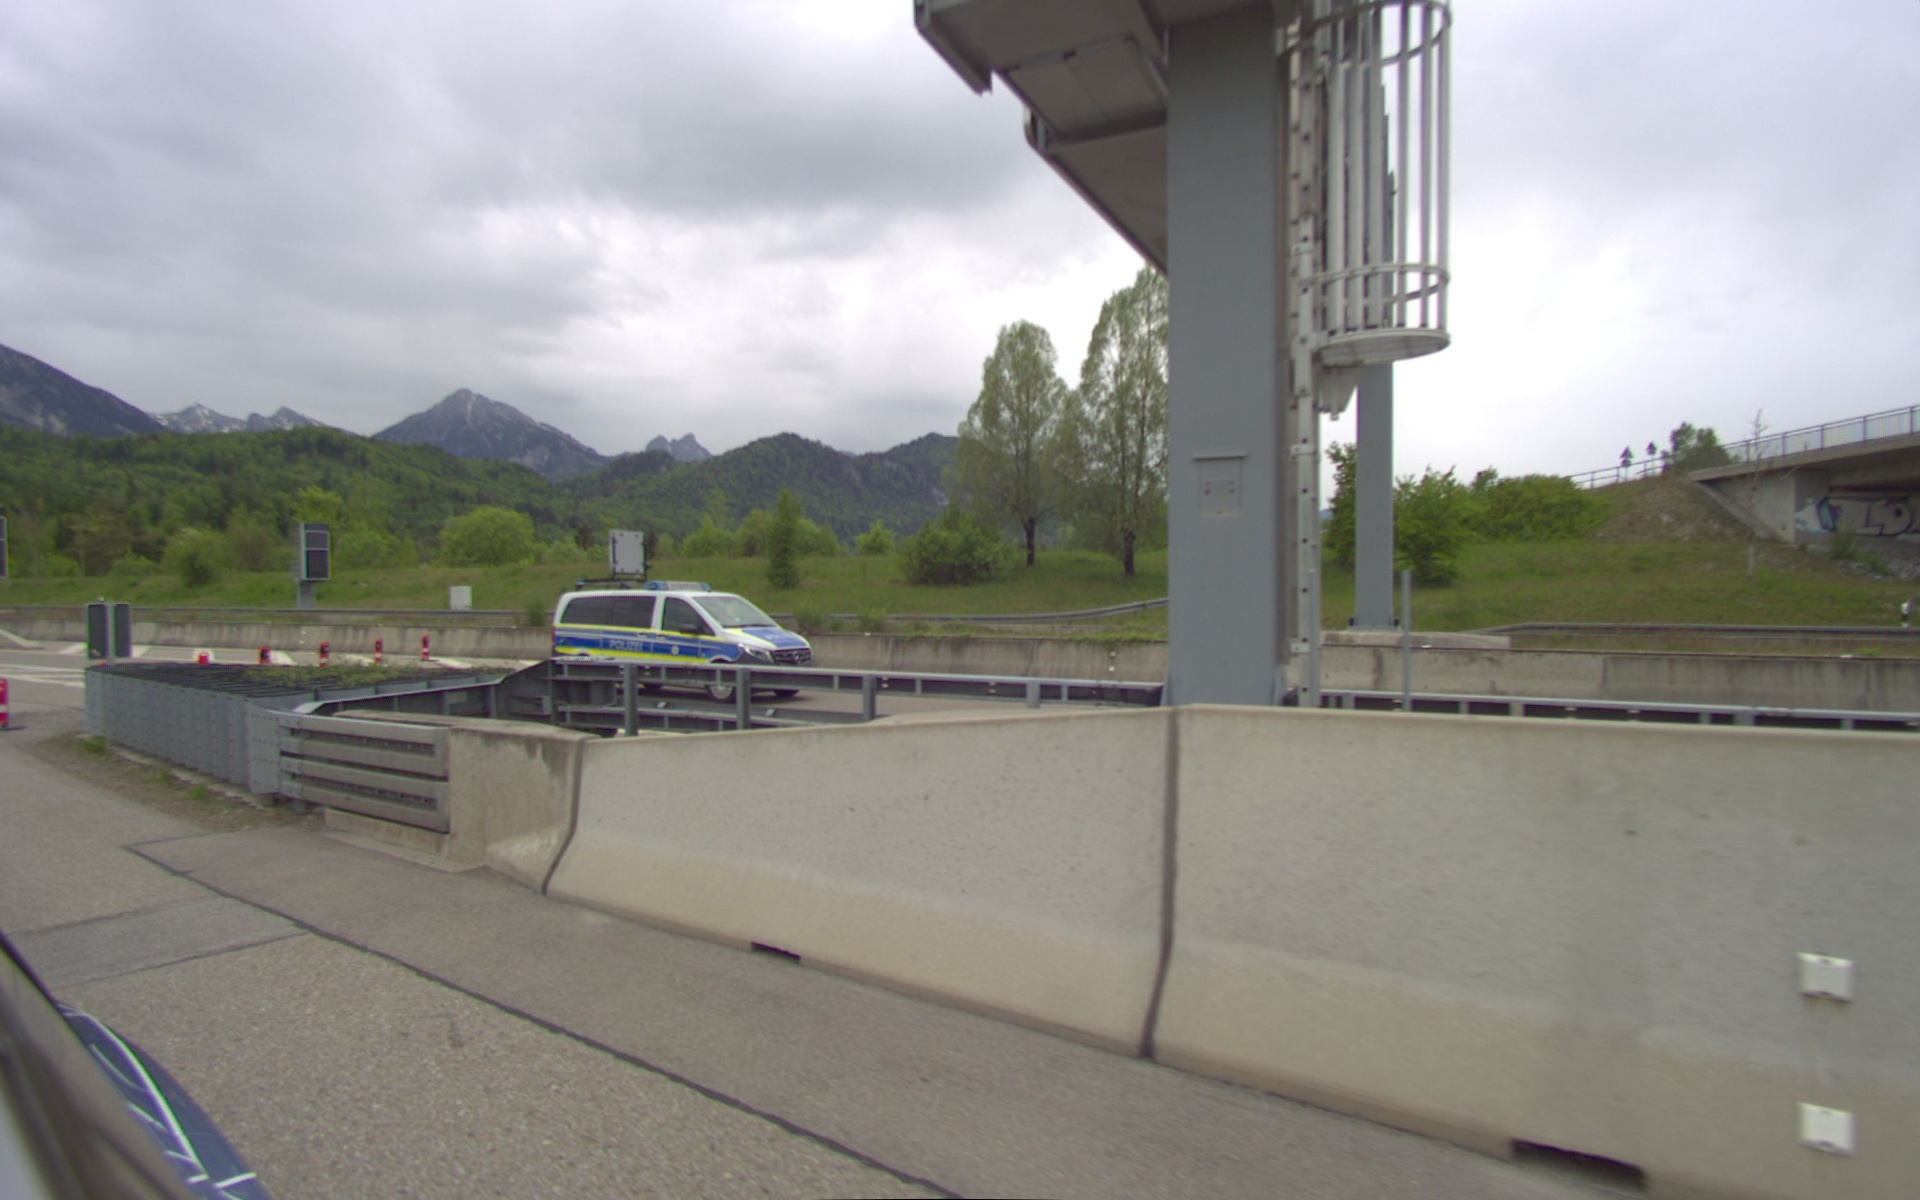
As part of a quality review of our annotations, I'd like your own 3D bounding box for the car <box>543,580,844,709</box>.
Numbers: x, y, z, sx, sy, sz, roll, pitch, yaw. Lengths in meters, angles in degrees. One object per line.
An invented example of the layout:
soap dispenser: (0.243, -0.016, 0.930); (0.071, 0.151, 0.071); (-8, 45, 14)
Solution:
car: (-4.792, 0.697, 18.146); (5.024, 2.029, 2.273); (0, 0, 27)
